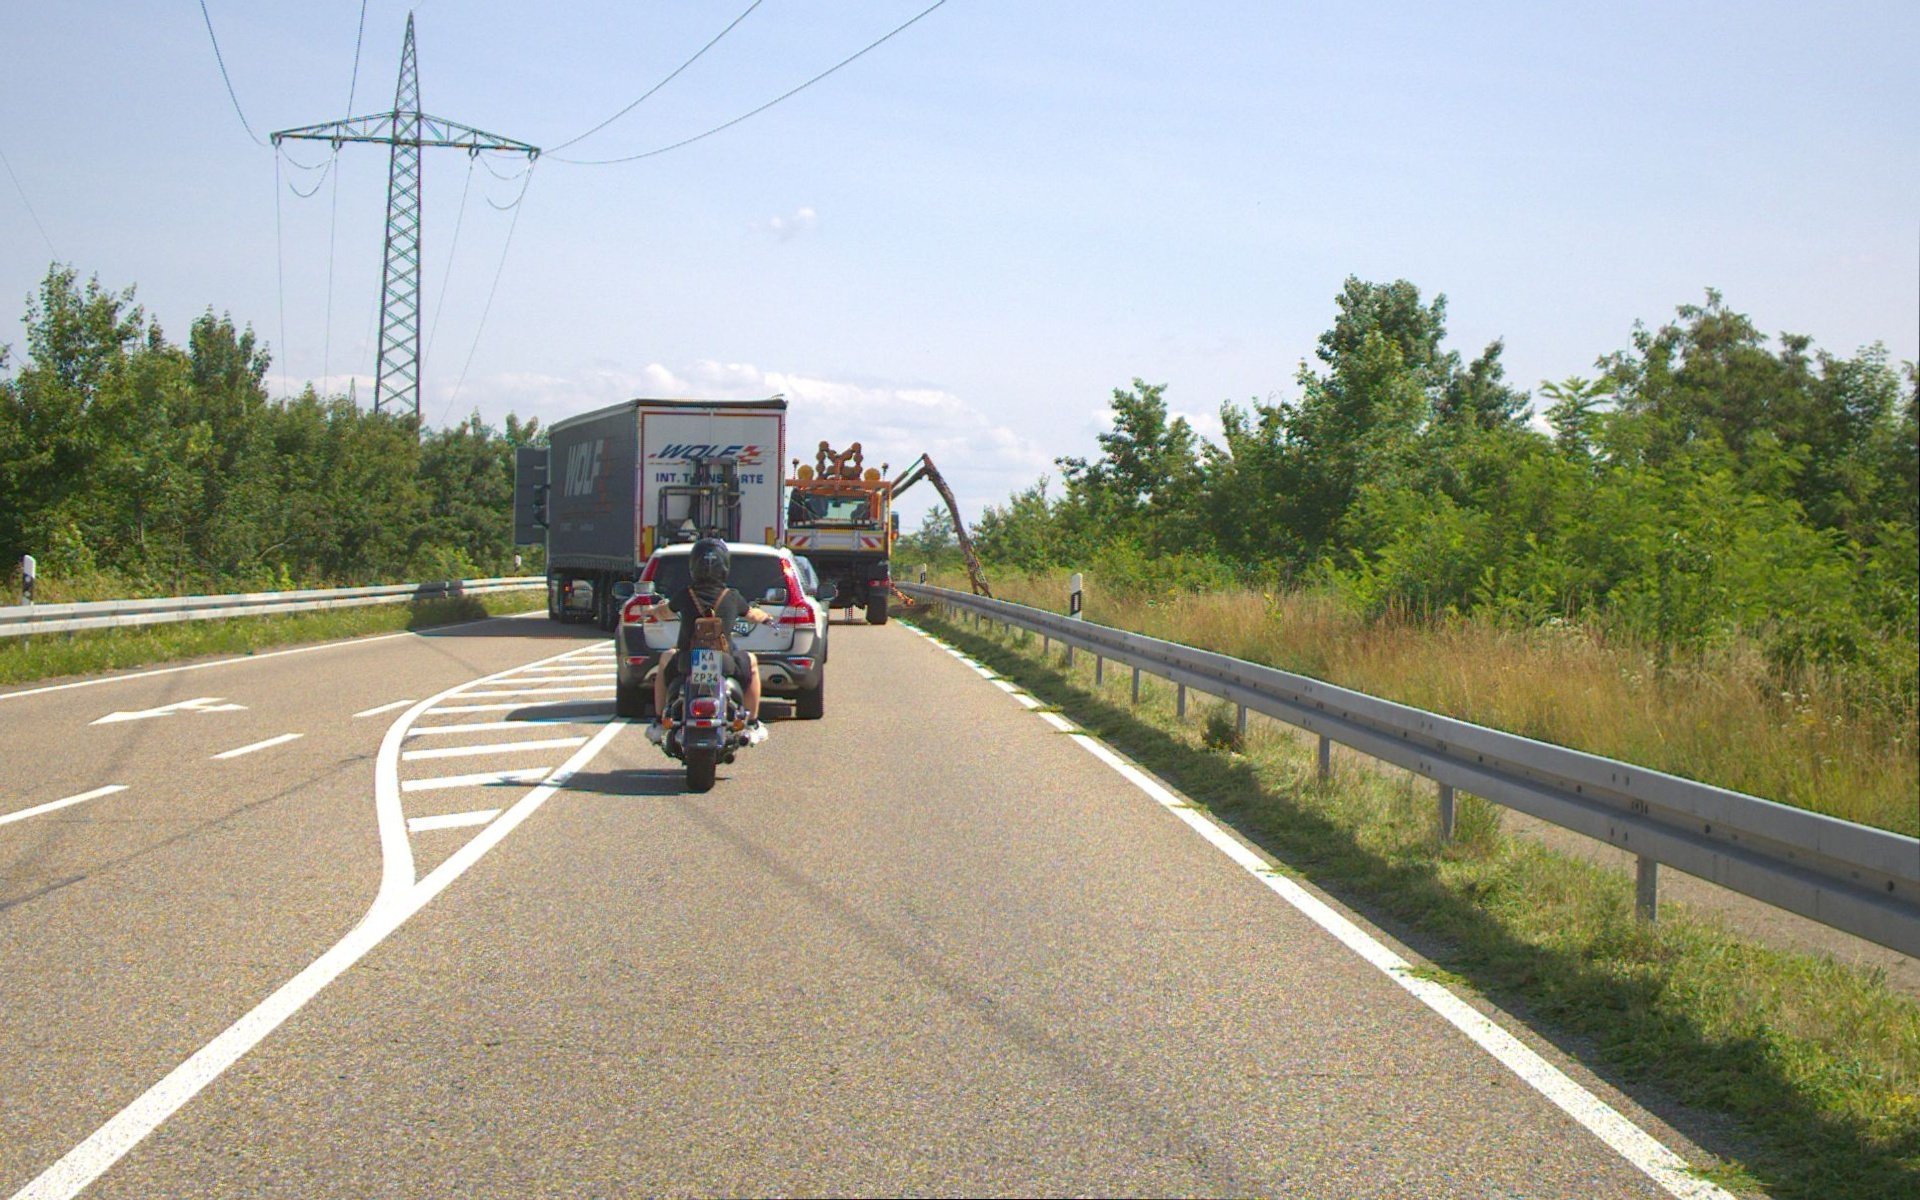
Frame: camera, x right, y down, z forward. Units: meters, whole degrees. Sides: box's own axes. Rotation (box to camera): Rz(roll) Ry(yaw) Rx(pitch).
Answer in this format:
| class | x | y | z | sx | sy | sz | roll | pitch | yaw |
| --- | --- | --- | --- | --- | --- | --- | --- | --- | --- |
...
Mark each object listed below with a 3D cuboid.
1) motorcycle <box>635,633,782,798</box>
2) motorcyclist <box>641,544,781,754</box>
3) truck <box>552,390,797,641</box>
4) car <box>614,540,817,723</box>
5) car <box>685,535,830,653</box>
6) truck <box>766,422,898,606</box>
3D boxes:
| class | x | y | z | sx | sy | sz | roll | pitch | yaw |
| --- | --- | --- | --- | --- | --- | --- | --- | --- | --- |
| motorcycle | -1.572 | 0.695 | 21.518 | 0.858 | 0.912 | 2.228 | 1 | 1 | -4 |
| motorcyclist | -1.565 | 0.293 | 21.613 | 0.837 | 1.276 | 0.919 | 1 | 1 | -4 |
| truck | -5.670 | -1.560 | 65.244 | 2.967 | 4.172 | 14.826 | 1 | 1 | -11 |
| car | -2.204 | 0.243 | 31.015 | 1.700 | 1.531 | 3.500 | 1 | 1 | -4 |
| car | -2.725 | -0.115 | 46.417 | 1.854 | 1.484 | 3.741 | 1 | 1 | -3 |
| truck | -2.770 | -1.806 | 73.160 | 2.613 | 3.698 | 6.778 | 1 | 1 | -3 |
